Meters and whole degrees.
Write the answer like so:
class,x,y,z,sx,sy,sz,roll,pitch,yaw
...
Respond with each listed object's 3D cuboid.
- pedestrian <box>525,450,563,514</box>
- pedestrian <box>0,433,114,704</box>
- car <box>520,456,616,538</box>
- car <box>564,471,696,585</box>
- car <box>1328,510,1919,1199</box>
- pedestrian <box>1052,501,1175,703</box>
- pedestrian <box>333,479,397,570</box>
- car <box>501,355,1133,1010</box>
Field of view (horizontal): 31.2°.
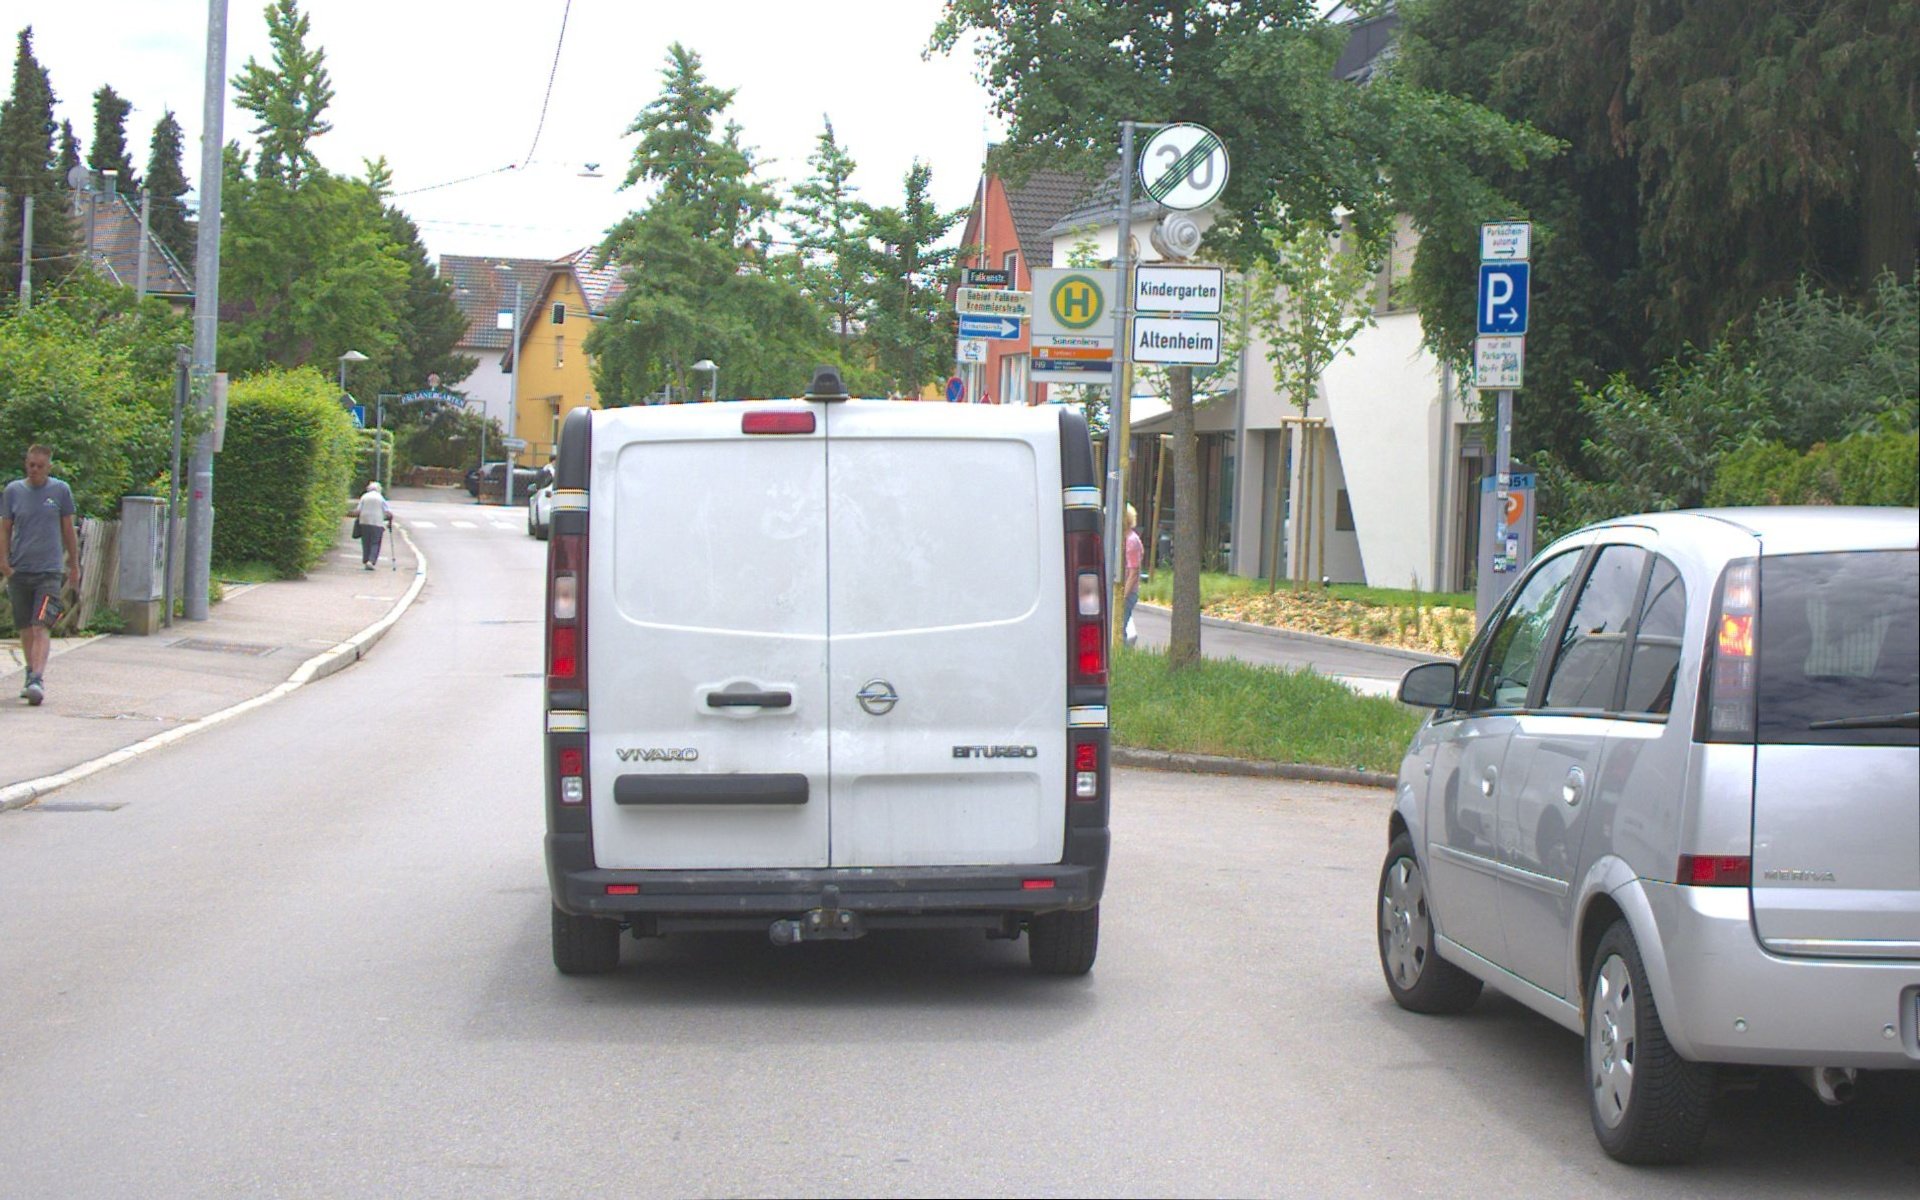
class,x,y,z,sx,sy,sz,roll,pitch,yaw
pedestrian,-10.772,-3.051,88.926,0.804,1.604,0.628,4,1,-13
pedestrian,-6.875,-0.247,25.603,0.733,1.939,1.217,4,1,0
car,-8.987,-2.354,78.633,1.993,1.776,4.001,1,2,-9
car,-5.714,-1.255,59.081,1.993,1.842,4.001,1,1,-9
car,2.276,0.551,9.704,1.759,1.577,4.019,1,1,-4
pedestrian,1.302,0.009,29.362,0.854,1.639,0.884,4,1,-3
pedestrian,-10.104,-1.285,58.348,0.876,1.480,0.455,4,1,-28
car,-0.639,0.218,12.883,1.915,1.996,4.439,1,1,-5
